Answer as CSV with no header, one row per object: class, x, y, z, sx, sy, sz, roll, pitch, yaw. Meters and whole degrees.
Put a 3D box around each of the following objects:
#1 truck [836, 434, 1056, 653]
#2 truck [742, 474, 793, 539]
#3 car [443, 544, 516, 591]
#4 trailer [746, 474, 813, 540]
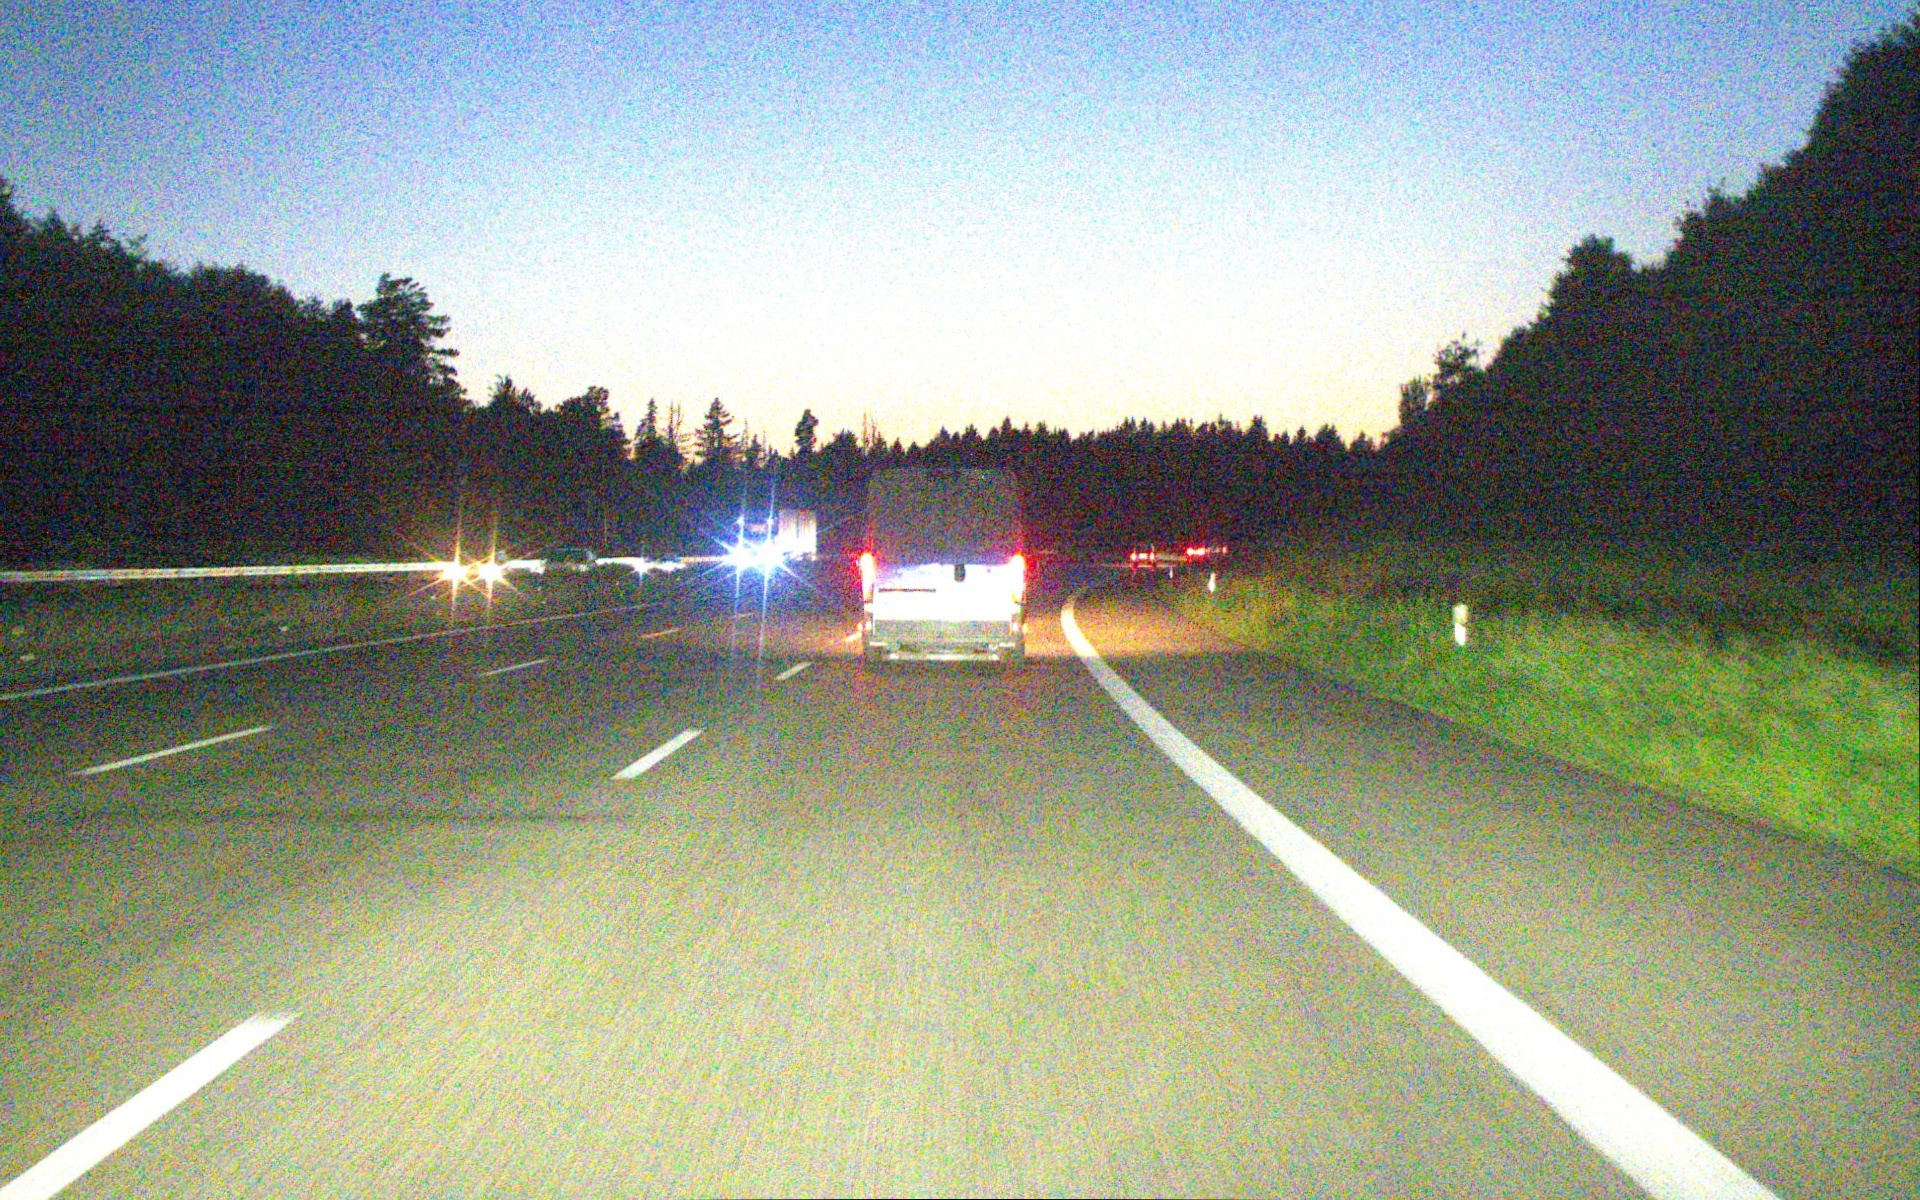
truck,-0.158,-0.717,45.591,2.630,2.615,8.685,0,1,0
truck,-12.665,-6.145,226.924,2.714,4.184,5.419,0,1,4
car,-17.322,-1.175,124.058,1.993,1.644,4.399,0,1,0
trailer,-12.235,-6.246,234.796,2.689,4.203,17.252,0,1,3
